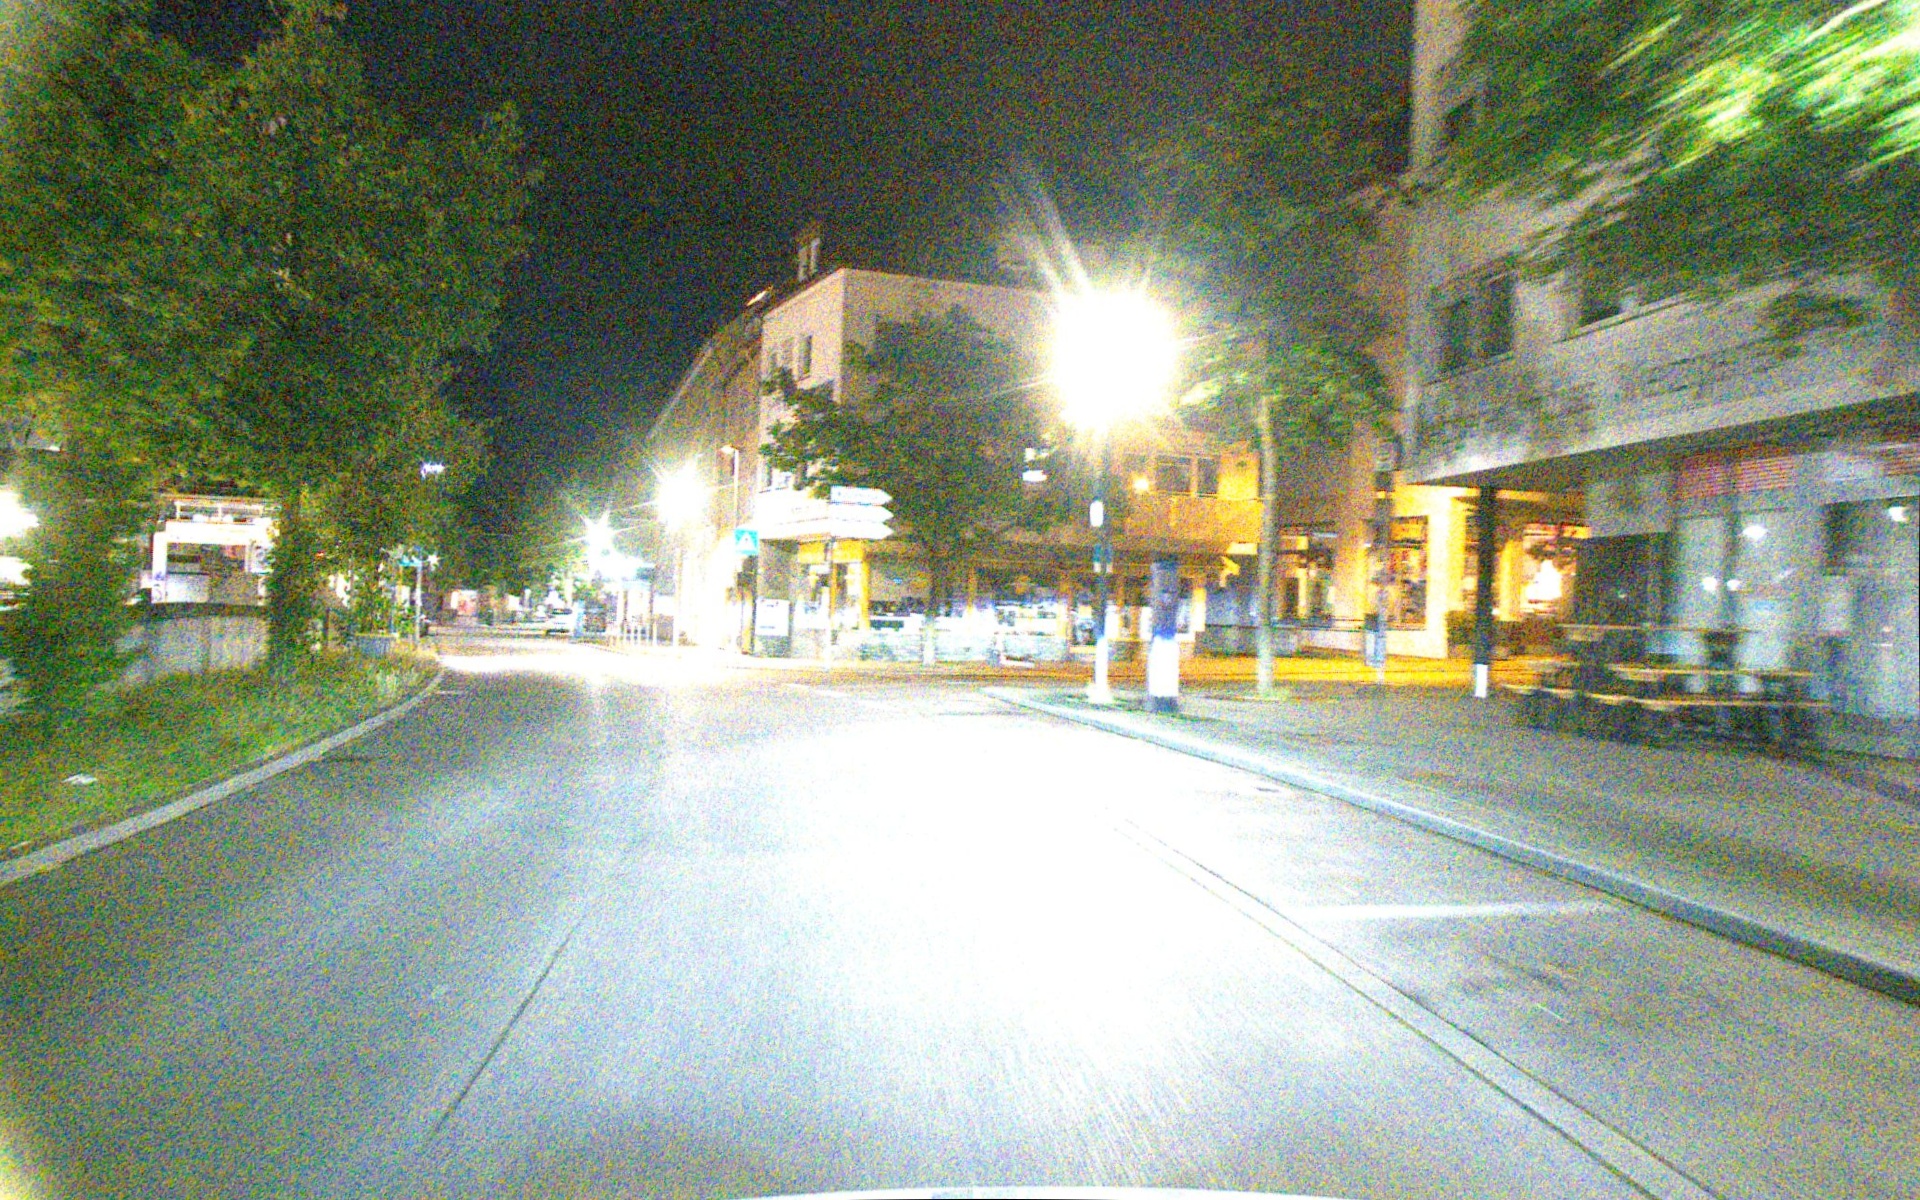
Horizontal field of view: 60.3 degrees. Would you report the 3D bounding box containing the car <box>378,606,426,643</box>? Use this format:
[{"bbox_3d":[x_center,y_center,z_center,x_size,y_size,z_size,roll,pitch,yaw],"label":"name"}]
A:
[{"bbox_3d":[-23.183,1.008,68.763,1.806,1.478,3.978,-1,-1,-19],"label":"car"}]

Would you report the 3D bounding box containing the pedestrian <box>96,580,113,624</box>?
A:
[{"bbox_3d":[-31.139,0.057,60.208,0.521,1.573,0.507,-1,1,-28],"label":"pedestrian"}]

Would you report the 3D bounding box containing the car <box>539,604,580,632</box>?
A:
[{"bbox_3d":[-21.785,0.980,89.935,1.806,1.382,3.978,-1,1,-19],"label":"car"}]

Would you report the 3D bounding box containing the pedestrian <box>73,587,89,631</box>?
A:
[{"bbox_3d":[-31.941,0.313,60.103,0.453,1.573,0.478,-1,1,-25],"label":"pedestrian"}]

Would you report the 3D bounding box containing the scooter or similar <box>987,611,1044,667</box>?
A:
[{"bbox_3d":[1.316,0.926,39.241,1.224,1.248,0.597,2,1,-12],"label":"scooter or similar"}]

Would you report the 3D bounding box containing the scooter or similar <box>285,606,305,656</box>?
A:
[{"bbox_3d":[-18.150,0.839,45.118,0.423,1.307,1.141,-1,1,-19],"label":"scooter or similar"}]

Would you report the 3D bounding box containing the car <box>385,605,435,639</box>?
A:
[{"bbox_3d":[-26.198,1.013,78.738,1.811,1.478,3.968,-1,1,-25],"label":"car"}]
